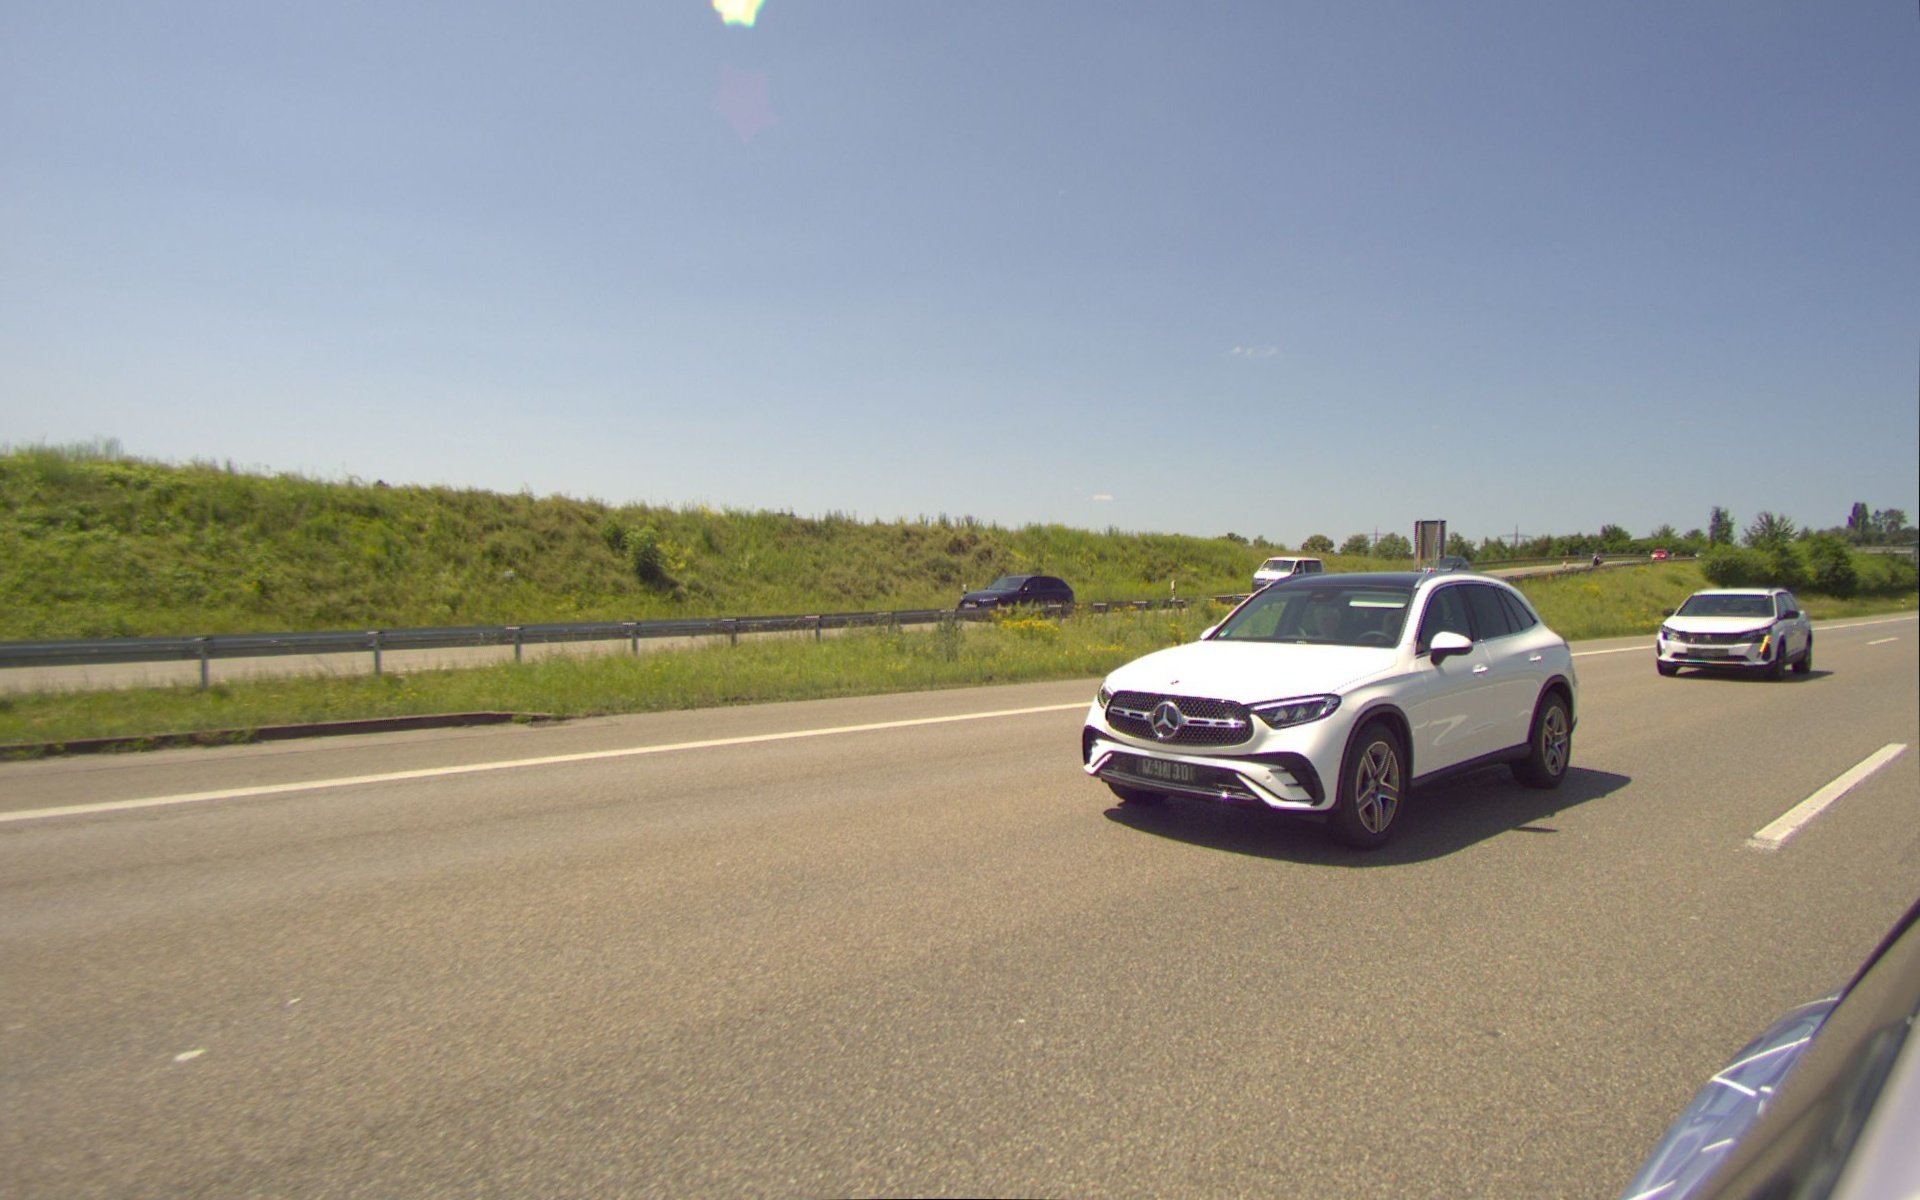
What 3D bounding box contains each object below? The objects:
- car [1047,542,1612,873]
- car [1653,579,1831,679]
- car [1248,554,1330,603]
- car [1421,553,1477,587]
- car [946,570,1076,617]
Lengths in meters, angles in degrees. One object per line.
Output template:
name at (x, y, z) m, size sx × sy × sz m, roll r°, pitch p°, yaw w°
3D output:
car at (2.907, 0.518, 7.368) m, size 4.556 × 1.676 × 1.908 m, roll -1°, pitch 0°, yaw -41°
car at (14.927, 0.456, 19.224) m, size 4.538 × 1.650 × 1.896 m, roll -2°, pitch 1°, yaw -42°
car at (15.778, -1.008, 48.372) m, size 1.992 × 2.199 × 4.819 m, roll 1°, pitch 1°, yaw 42°
car at (31.213, -1.910, 64.607) m, size 3.935 × 2.039 × 1.994 m, roll -2°, pitch 1°, yaw -44°
car at (1.718, -0.223, 32.802) m, size 1.993 × 1.400 × 4.231 m, roll 1°, pitch 1°, yaw 42°
